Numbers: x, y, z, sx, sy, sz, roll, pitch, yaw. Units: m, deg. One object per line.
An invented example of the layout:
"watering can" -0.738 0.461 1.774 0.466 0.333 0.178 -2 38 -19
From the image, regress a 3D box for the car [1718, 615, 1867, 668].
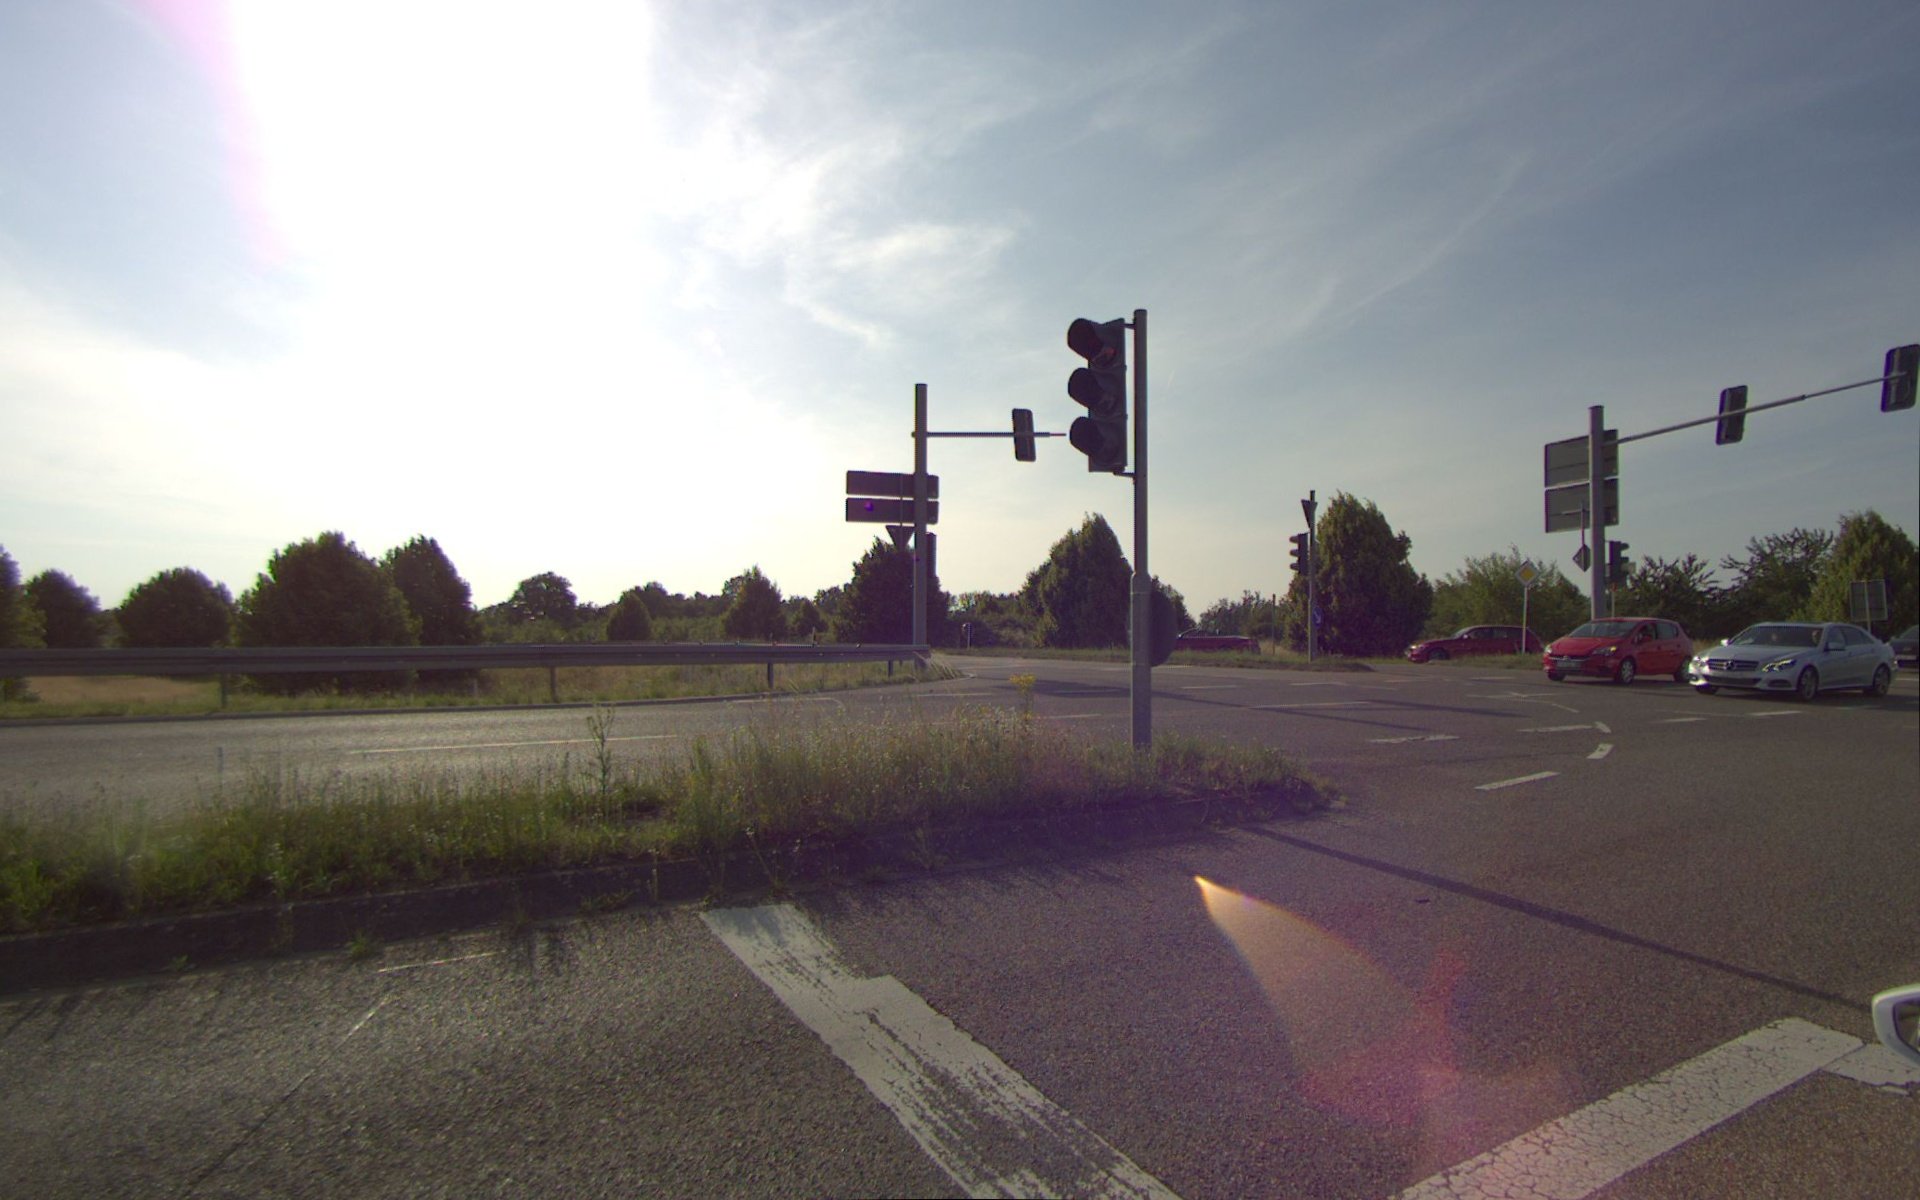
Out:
"car" 29.048 1.433 35.094 3.926 1.749 1.846 1 -1 -7

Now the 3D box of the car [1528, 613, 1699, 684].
"car" 15.002 1.083 23.037 3.756 1.507 1.714 1 -1 -28

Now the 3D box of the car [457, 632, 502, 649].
"car" -38.873 3.247 81.233 4.598 1.299 1.717 -1 -2 43

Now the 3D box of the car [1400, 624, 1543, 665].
"car" 17.681 1.519 34.895 4.127 1.344 1.665 1 -1 12

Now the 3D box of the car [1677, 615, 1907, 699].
"car" 16.464 1.089 19.852 4.589 1.507 1.780 1 -1 -26

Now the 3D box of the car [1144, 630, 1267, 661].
"car" 9.787 1.782 40.135 4.401 1.116 1.995 0 -1 33

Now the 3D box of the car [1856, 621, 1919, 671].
"car" 29.657 1.401 30.875 3.997 1.452 1.780 1 -1 -26
